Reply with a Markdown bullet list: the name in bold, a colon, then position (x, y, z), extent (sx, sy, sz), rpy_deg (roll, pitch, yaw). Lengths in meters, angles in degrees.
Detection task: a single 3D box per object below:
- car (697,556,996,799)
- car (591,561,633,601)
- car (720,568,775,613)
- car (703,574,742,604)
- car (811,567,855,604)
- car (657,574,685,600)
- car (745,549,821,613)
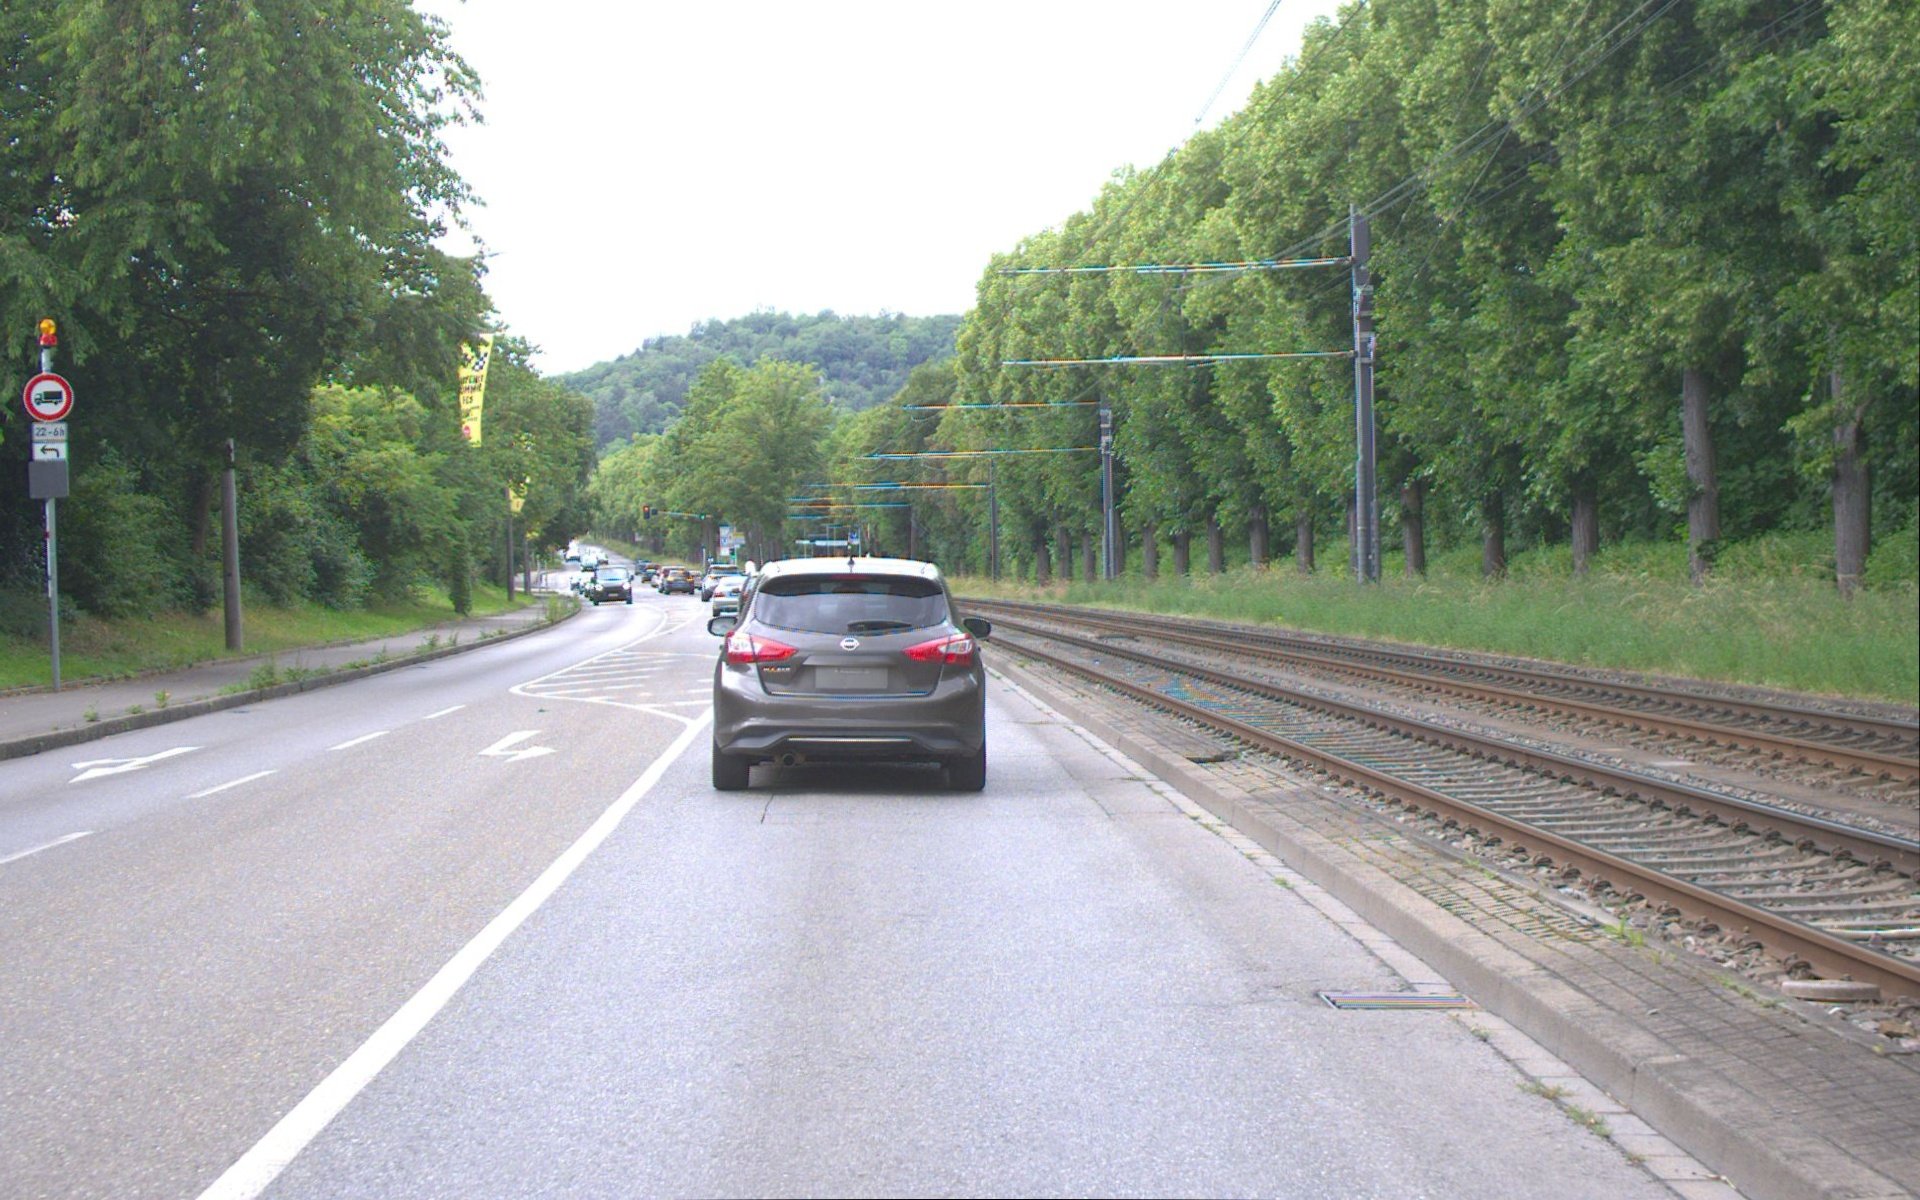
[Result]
- **car**: position (-0.744, 0.458, 23.428), extent (1.850, 1.488, 4.000), rpy_deg (1, 1, -1)
- **car**: position (-18.267, -1.007, 180.487), extent (1.993, 2.029, 5.116), rpy_deg (-2, 0, -4)
- **car**: position (-6.926, -0.327, 112.183), extent (1.699, 1.439, 4.000), rpy_deg (0, 0, -2)
- **car**: position (-11.976, -0.566, 173.598), extent (1.794, 1.505, 4.000), rpy_deg (0, 0, -2)
- **car**: position (-5.014, -0.571, 135.748), extent (1.699, 1.439, 4.000), rpy_deg (0, 0, -2)
- **car**: position (-19.362, -0.853, 230.427), extent (1.699, 1.708, 4.000), rpy_deg (0, 0, -2)
- **car**: position (-4.104, -0.439, 80.127), extent (1.699, 1.439, 4.000), rpy_deg (0, 0, -2)
